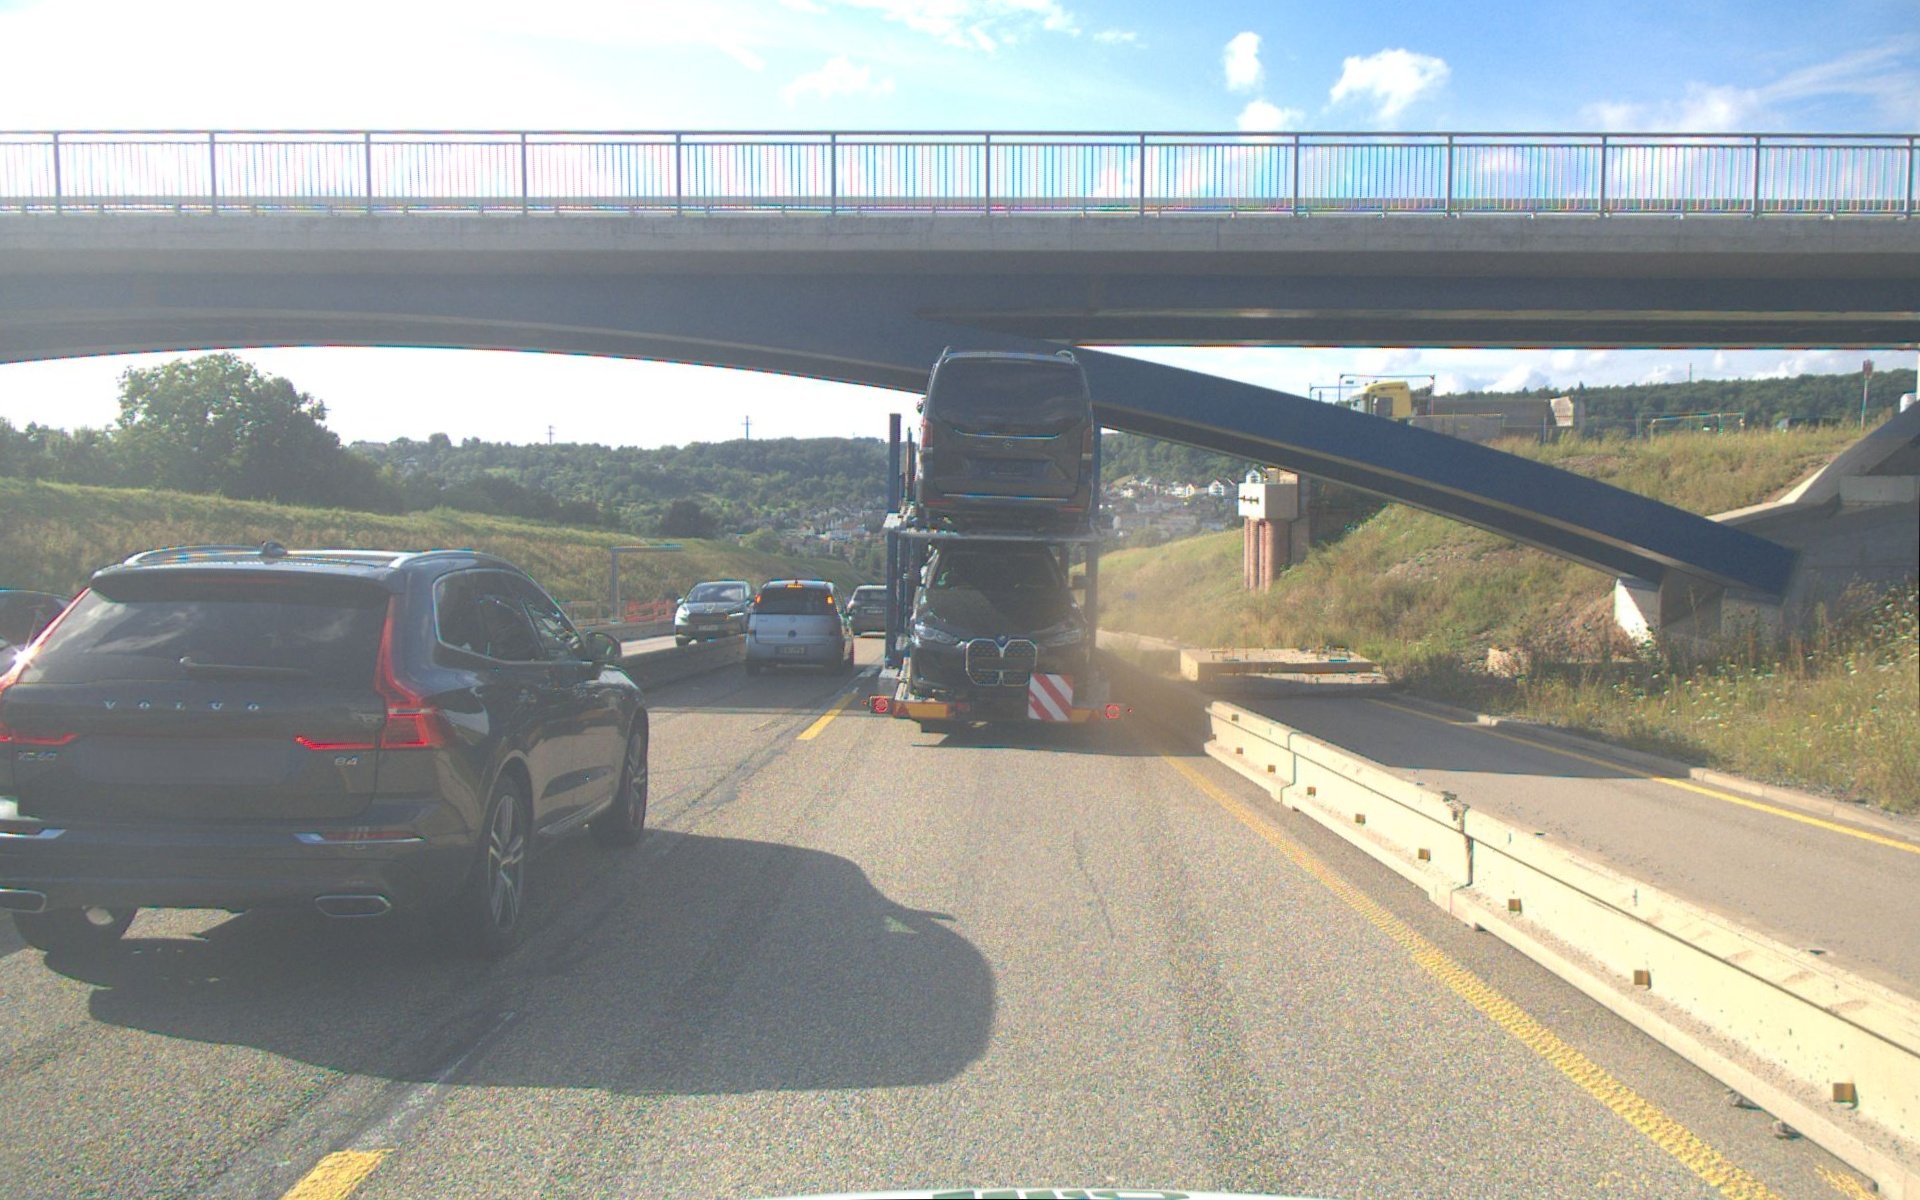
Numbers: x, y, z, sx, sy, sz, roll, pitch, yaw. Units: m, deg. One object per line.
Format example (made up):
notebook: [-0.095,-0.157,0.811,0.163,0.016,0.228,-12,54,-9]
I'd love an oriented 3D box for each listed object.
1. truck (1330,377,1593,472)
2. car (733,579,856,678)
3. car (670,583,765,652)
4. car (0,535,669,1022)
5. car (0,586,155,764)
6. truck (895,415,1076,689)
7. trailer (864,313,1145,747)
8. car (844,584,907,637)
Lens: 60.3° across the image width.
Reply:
truck: [18.801,-6.567,62.385,9.073,3.284,2.960,0,0,0]
car: [-2.878,0.447,29.587,1.759,1.624,4.742,0,0,-1]
car: [-6.175,0.409,42.513,1.786,1.590,4.218,-2,1,-1]
car: [-2.766,0.581,8.003,1.953,1.653,4.749,0,1,-1]
car: [-9.166,0.681,14.833,1.786,1.518,4.218,-2,1,-1]
truck: [0.354,-0.712,27.121,2.623,3.990,6.027,0,0,0]
trailer: [0.383,-0.689,21.384,2.653,4.099,11.418,0,0,0]
car: [-2.566,0.281,50.933,1.759,1.557,4.295,0,1,-1]
